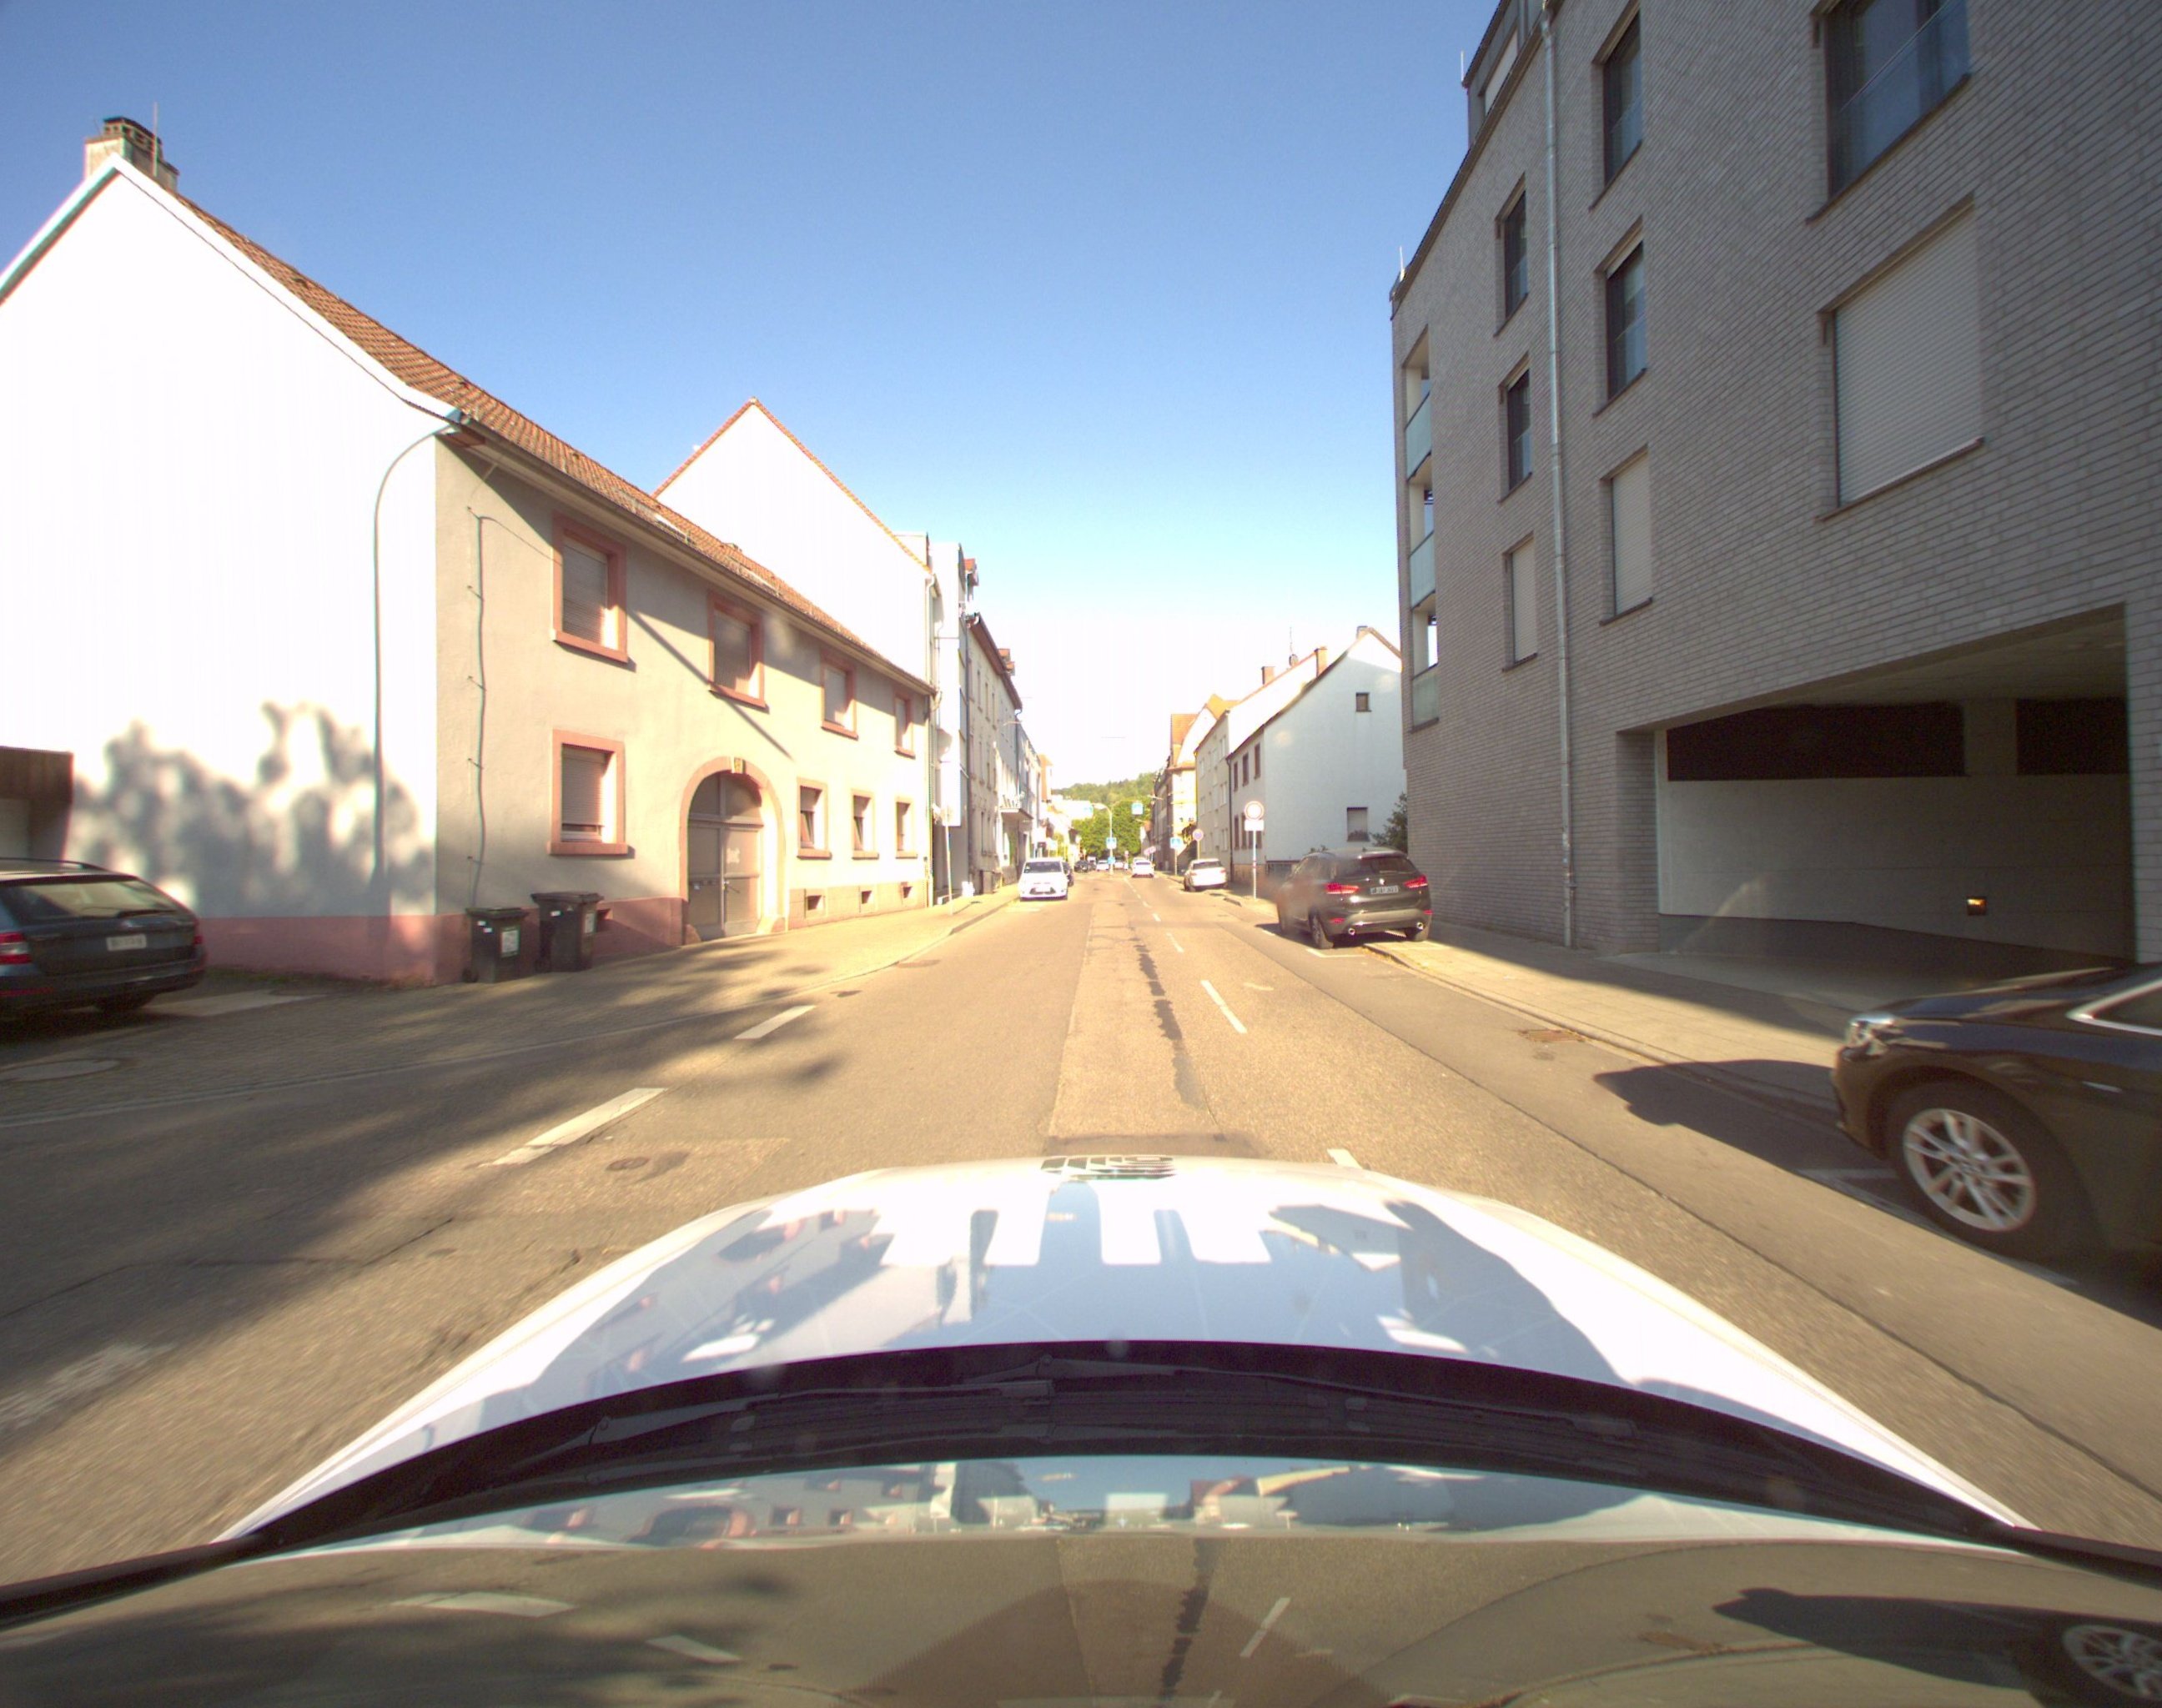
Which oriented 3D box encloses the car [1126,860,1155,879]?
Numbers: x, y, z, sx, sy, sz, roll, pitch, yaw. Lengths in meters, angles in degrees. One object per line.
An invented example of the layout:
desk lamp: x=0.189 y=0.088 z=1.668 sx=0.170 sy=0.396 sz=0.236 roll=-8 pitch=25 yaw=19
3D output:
car: x=4.861 y=1.225 z=66.823 sx=1.988 sy=1.466 sz=3.998 roll=-2 pitch=-1 yaw=-1

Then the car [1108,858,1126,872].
car: x=5.336 y=1.655 z=120.498 sx=1.992 sy=2.014 sz=3.990 roll=-2 pitch=0 yaw=-7

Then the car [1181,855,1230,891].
car: x=5.796 y=0.846 z=38.246 sx=1.734 sy=1.492 sz=4.441 roll=-3 pitch=-1 yaw=2

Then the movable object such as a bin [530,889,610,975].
movable object such as a bin: x=-6.908 y=1.039 z=11.045 sx=0.596 sy=1.094 sz=0.751 roll=0 pitch=-1 yaw=2

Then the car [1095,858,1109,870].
car: x=3.115 y=1.542 z=123.488 sx=1.803 sy=1.701 sz=4.188 roll=-3 pitch=0 yaw=-2

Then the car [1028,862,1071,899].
car: x=-1.418 y=1.202 z=37.870 sx=1.759 sy=1.495 sz=4.125 roll=-3 pitch=0 yaw=0

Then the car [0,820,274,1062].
car: x=-10.455 y=0.609 z=7.384 sx=4.346 sy=1.794 sz=1.990 roll=2 pitch=2 yaw=2

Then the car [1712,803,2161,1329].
car: x=4.385 y=0.646 z=1.952 sx=1.988 sy=1.653 sz=4.760 roll=-1 pitch=0 yaw=-1

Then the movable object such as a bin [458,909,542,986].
movable object such as a bin: x=-7.200 y=1.145 z=10.110 sx=0.596 sy=0.872 sz=0.606 roll=-1 pitch=-1 yaw=-1

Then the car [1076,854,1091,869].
car: x=0.365 y=0.979 z=108.855 sx=1.987 sy=2.014 sz=3.999 roll=-1 pitch=0 yaw=0

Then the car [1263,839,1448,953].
car: x=4.726 y=0.640 z=14.803 sx=1.847 sy=1.636 sz=4.625 roll=-4 pitch=0 yaw=2

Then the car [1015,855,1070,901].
car: x=-1.457 y=0.873 z=32.227 sx=1.988 sy=1.648 sz=5.218 roll=-1 pitch=0 yaw=-1

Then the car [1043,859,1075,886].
car: x=-1.280 y=1.092 z=48.770 sx=1.725 sy=1.499 sz=3.959 roll=-2 pitch=-1 yaw=1

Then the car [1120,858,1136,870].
car: x=8.025 y=1.736 z=138.925 sx=1.993 sy=2.014 sz=3.987 roll=-1 pitch=0 yaw=-9
